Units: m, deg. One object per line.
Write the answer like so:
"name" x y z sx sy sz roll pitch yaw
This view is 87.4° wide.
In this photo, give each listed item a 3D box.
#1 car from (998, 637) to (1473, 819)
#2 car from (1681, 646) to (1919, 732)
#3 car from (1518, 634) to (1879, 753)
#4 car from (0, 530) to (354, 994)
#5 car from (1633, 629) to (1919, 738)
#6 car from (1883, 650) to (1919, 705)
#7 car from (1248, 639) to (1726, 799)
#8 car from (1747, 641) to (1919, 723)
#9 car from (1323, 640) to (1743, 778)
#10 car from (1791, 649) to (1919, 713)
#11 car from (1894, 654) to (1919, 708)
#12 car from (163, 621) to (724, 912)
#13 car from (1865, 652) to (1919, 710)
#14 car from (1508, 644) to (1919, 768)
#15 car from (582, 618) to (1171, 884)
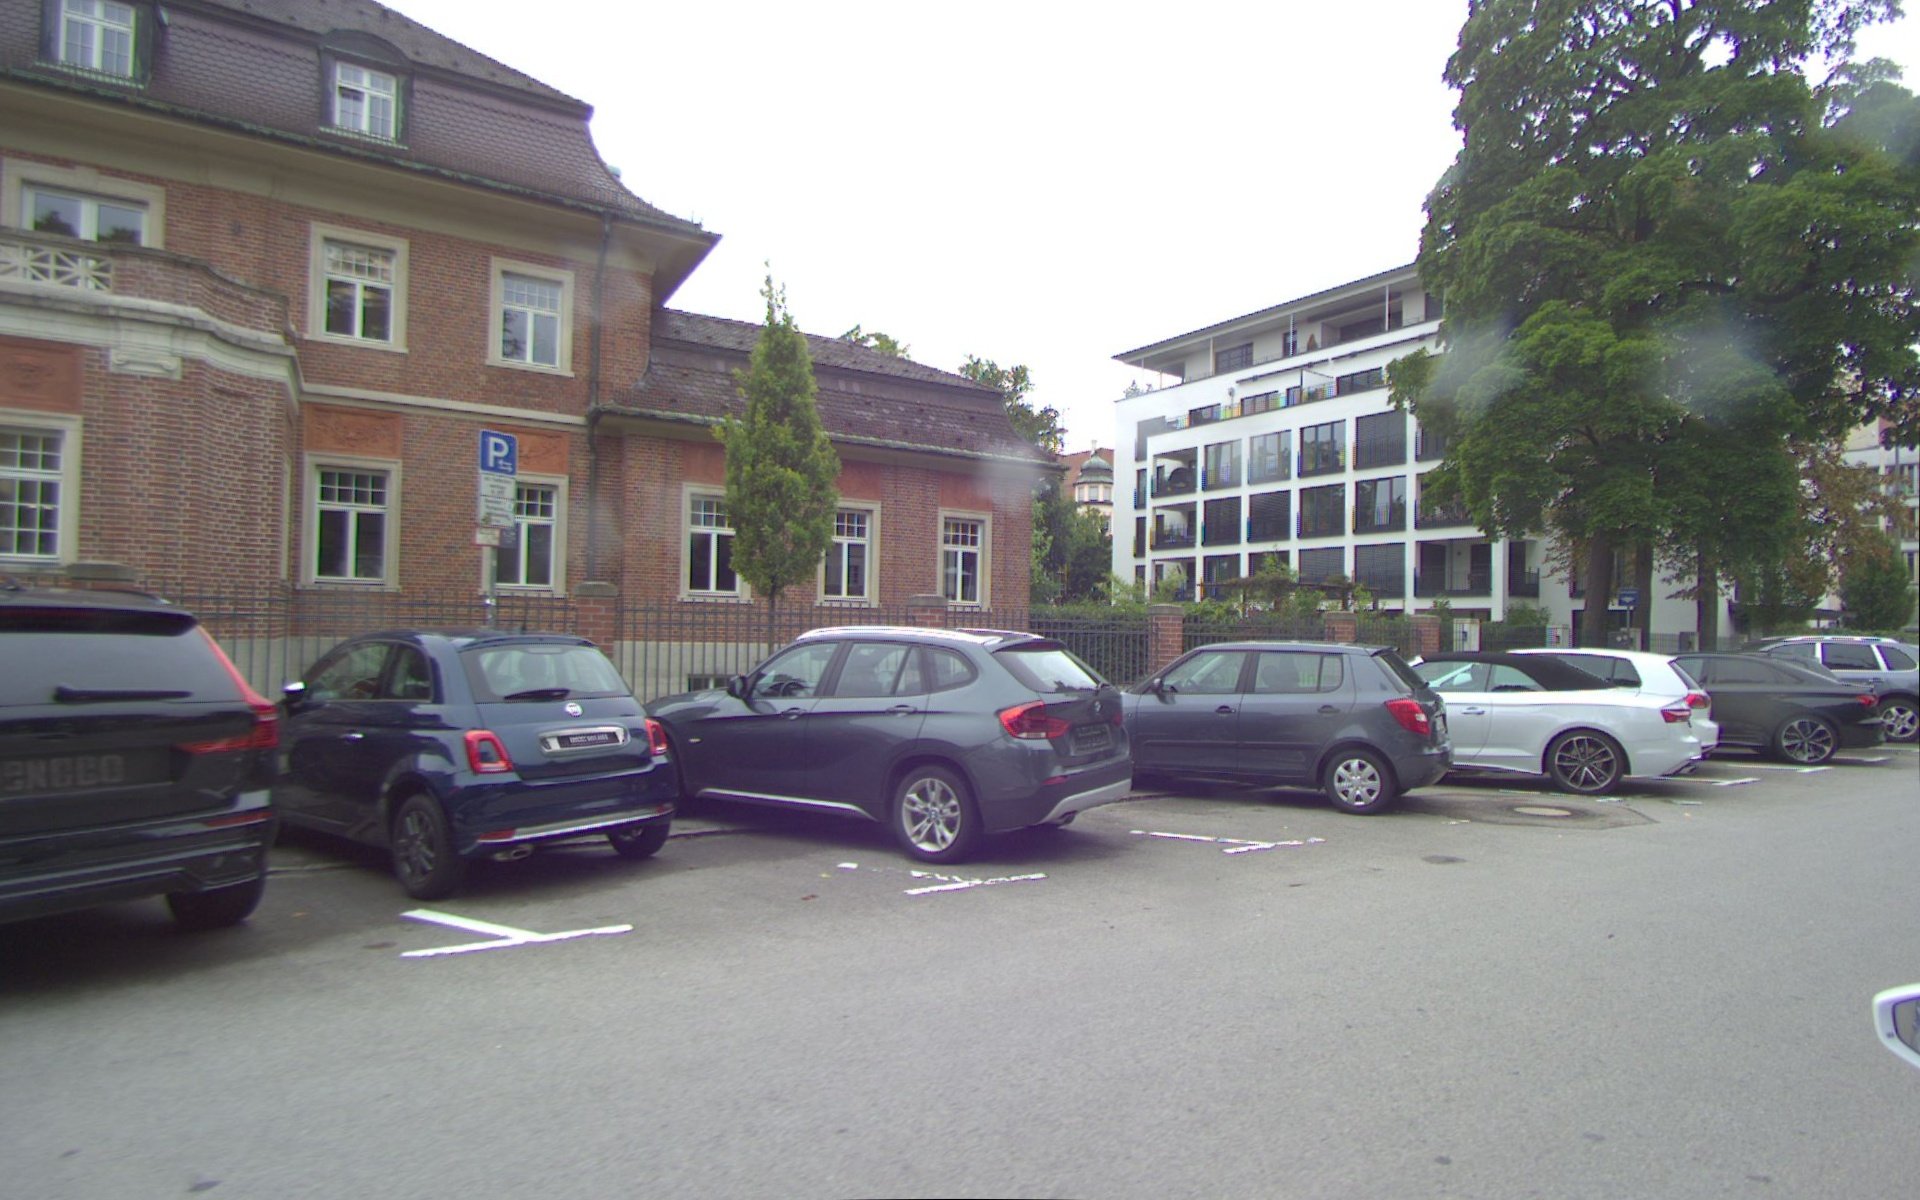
"car" 2.659 1.126 10.117 4.321 1.470 1.653 -1 -3 33
"car" 17.011 1.709 19.681 4.327 1.510 2.017 0 -3 22
"car" 11.632 1.429 16.244 4.326 1.651 1.966 0 -3 22
"car" -5.226 0.653 5.085 4.451 1.686 1.982 -2 -4 34
"car" 14.740 1.428 17.782 4.326 1.721 2.137 0 -3 22
"car" 30.227 2.293 29.585 4.141 1.630 1.735 -1 -3 29
"car" 5.723 1.201 11.367 4.436 1.470 1.894 -1 -3 30
"car" 19.786 1.746 21.558 4.337 1.642 2.081 -1 -3 33
"car" 7.279 1.359 13.194 4.437 1.529 1.929 -3 -4 30
"car" 23.534 2.014 24.986 4.142 1.480 1.790 0 -3 30
"car" 28.587 2.239 27.489 4.146 1.480 1.733 -2 -3 33
"car" -3.819 0.973 7.168 4.260 1.490 1.814 -3 -4 36
"car" 26.360 2.099 25.874 4.137 1.480 1.737 -1 -3 24
"car" 10.343 1.401 14.255 4.328 1.458 1.965 0 -3 23
"car" -0.776 0.963 8.021 4.449 1.588 1.885 -1 -3 32
